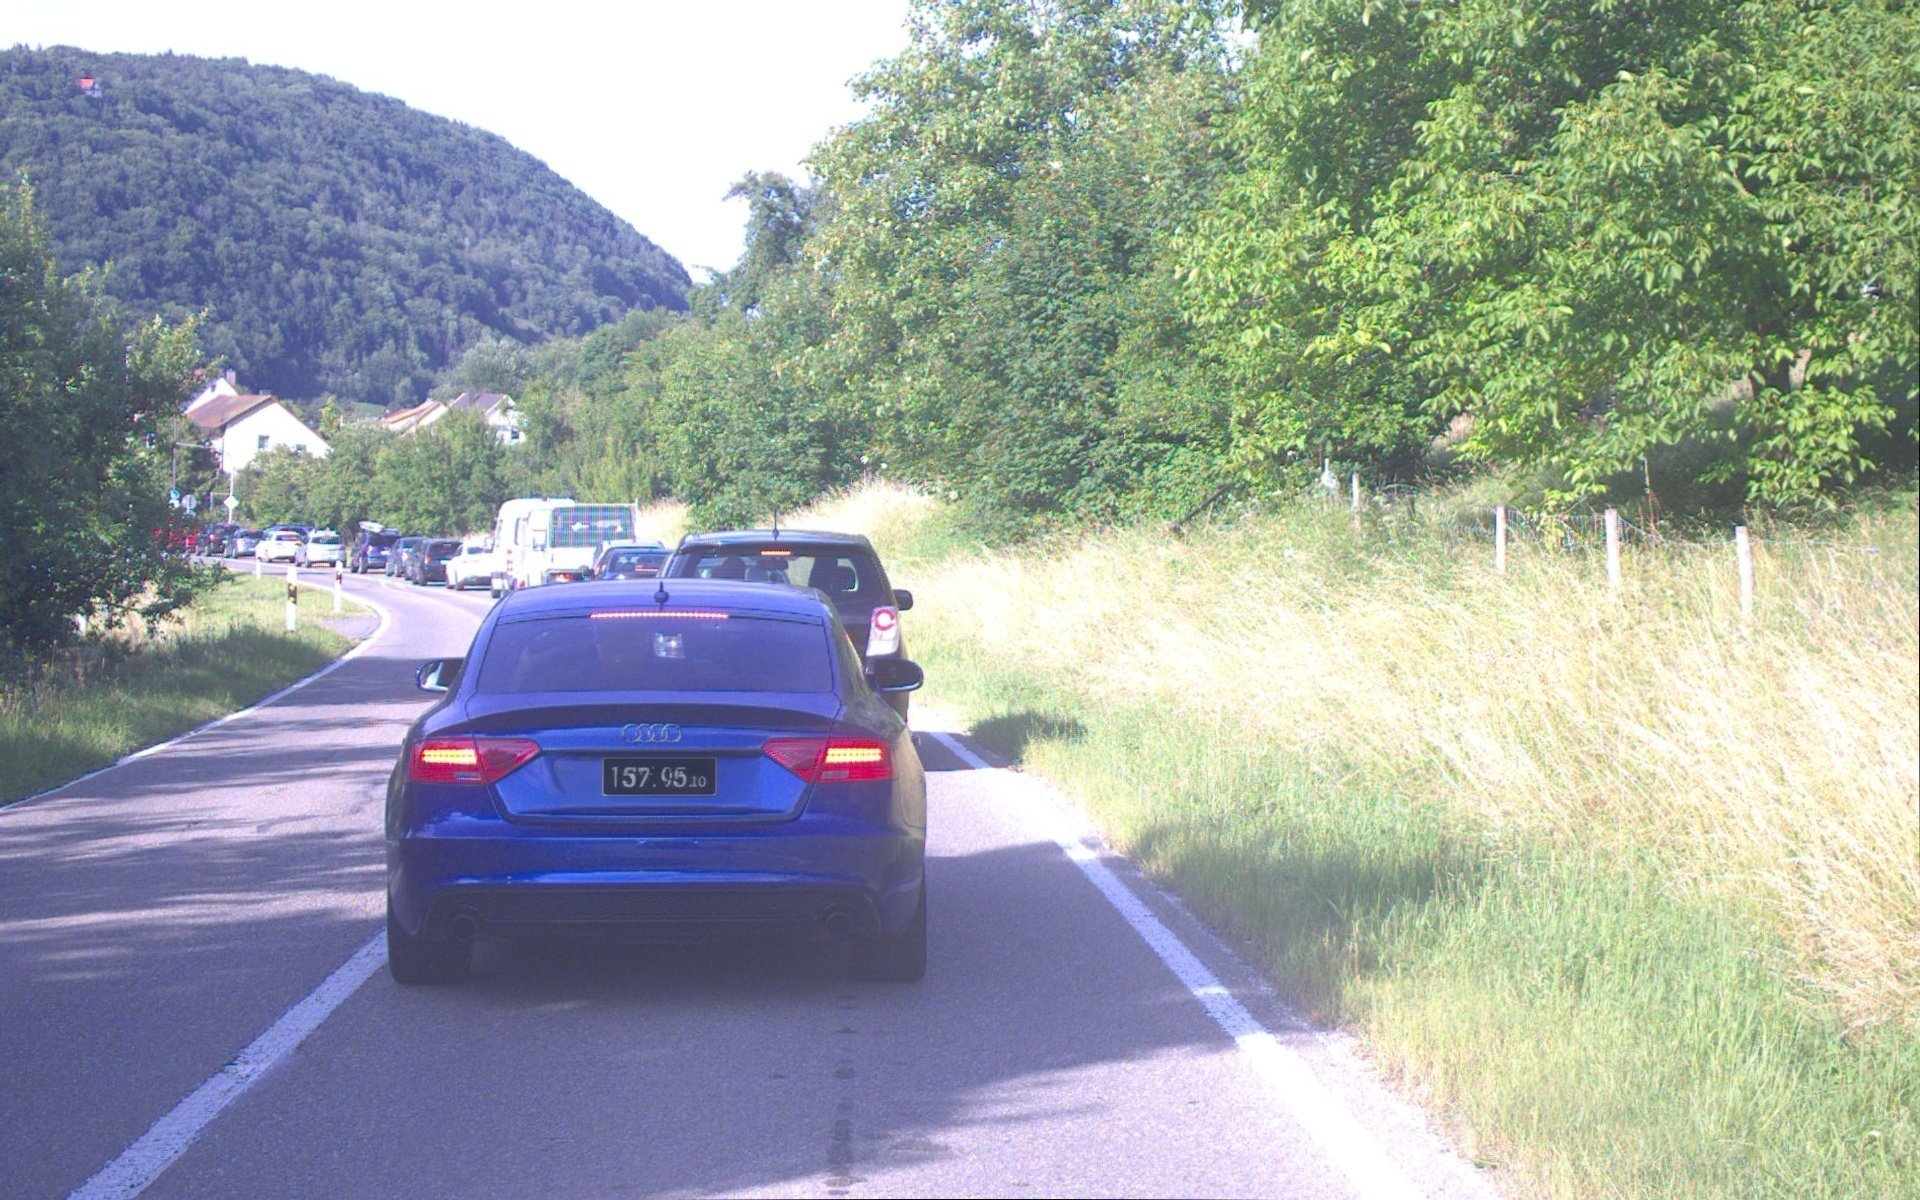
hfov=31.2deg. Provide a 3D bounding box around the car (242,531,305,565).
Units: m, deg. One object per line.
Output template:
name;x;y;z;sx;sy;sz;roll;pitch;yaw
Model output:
car;-31.505;-2.381;157.781;1.993;1.477;4.001;0;1;-24

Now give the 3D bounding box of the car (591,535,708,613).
car;-6.120;-0.513;67.452;1.993;1.477;4.001;0;1;-9

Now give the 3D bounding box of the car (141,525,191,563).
car;-43.081;-3.028;186.441;1.993;2.007;4.001;0;1;-23

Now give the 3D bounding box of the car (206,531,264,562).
car;-35.498;-2.598;168.314;1.993;1.477;4.001;0;1;-24

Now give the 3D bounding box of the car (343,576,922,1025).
car;-1.054;0.609;12.702;1.793;1.355;4.000;0;1;-1

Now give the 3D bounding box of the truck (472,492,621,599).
truck;-11.101;-1.455;91.415;2.863;2.656;10.648;0;1;-13

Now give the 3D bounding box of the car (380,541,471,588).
car;-17.091;-1.132;109.877;1.993;1.477;4.001;0;1;-22

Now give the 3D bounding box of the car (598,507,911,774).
car;-1.384;0.245;24.067;1.993;1.696;4.000;1;1;-2

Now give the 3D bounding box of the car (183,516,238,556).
car;-38.203;-3.253;175.182;1.993;2.007;4.001;0;1;-23

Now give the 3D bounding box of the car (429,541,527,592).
car;-14.444;-1.019;102.906;1.993;1.477;4.001;0;1;-22

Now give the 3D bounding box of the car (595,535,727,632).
car;-4.855;-0.276;55.344;1.993;1.477;4.001;1;1;-7

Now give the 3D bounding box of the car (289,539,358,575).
car;-27.207;-1.834;146.848;1.993;1.477;4.001;0;1;-24

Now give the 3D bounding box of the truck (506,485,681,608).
truck;-8.663;-1.261;80.061;2.863;2.656;10.396;0;1;-13

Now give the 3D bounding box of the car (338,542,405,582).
car;-22.676;-1.470;132.349;1.993;1.477;4.001;0;1;-18
